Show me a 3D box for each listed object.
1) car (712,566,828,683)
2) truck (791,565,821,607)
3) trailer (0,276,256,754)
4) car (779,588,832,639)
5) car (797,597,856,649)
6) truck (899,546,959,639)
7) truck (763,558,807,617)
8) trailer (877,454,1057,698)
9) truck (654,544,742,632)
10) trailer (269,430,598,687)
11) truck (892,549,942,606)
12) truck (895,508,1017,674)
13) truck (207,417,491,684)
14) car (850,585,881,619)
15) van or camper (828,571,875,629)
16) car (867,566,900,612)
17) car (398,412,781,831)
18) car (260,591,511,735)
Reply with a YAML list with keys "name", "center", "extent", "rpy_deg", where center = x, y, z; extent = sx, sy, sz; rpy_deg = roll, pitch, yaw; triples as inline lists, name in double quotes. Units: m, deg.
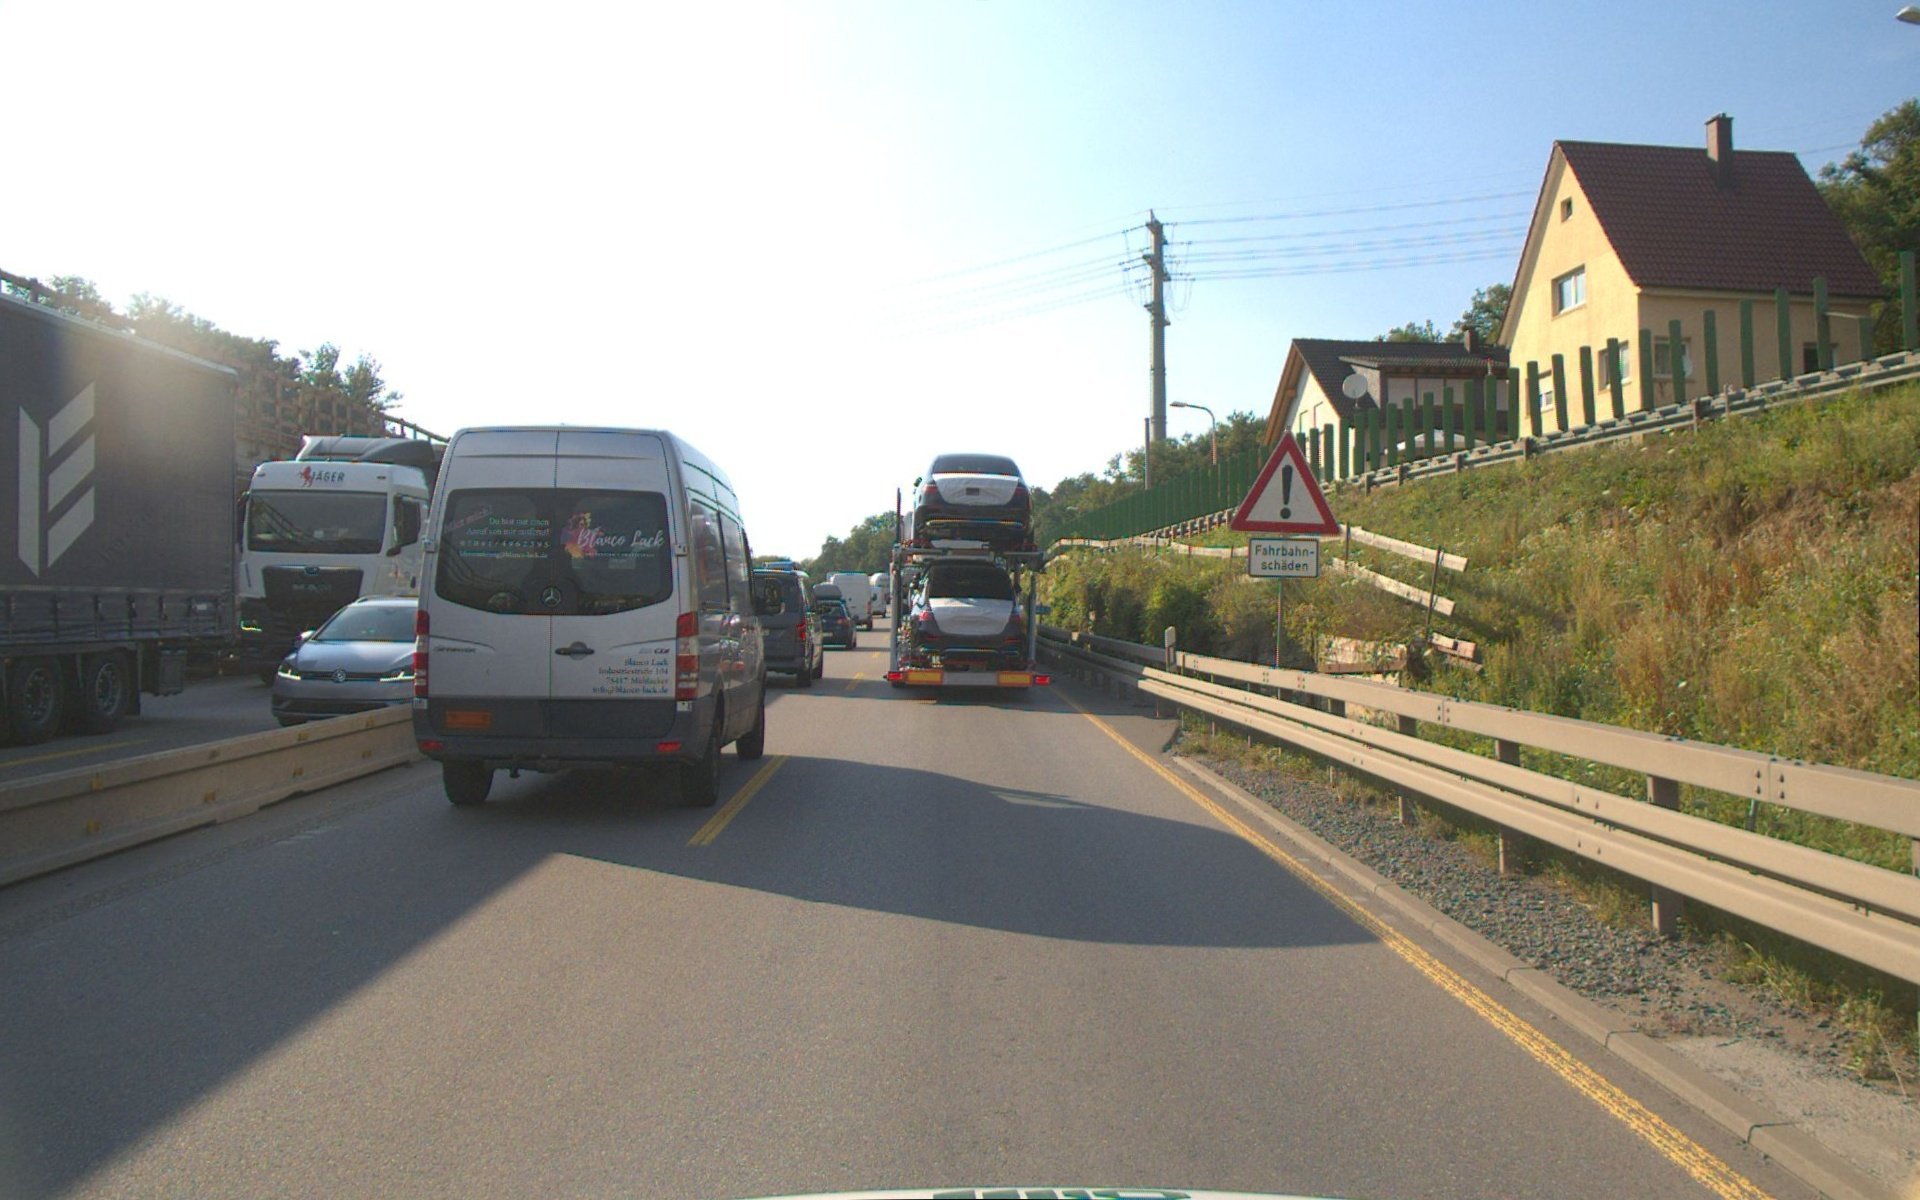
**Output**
- name: "car"
  center: [-3.356, 0.459, 29.808]
  extent: [1.772, 1.937, 3.997]
  rpy_deg: [1, -1, -3]
- name: "truck"
  center: [-16.380, -1.435, 176.659]
  extent: [2.924, 4.226, 15.839]
  rpy_deg: [1, 0, -5]
- name: "trailer"
  center: [-9.797, -0.756, 13.081]
  extent: [2.708, 4.213, 14.021]
  rpy_deg: [1, 0, -1]
- name: "car"
  center: [-7.963, 0.697, 85.593]
  extent: [2.422, 2.578, 3.998]
  rpy_deg: [0, -1, -2]
- name: "car"
  center: [-4.190, 0.686, 52.285]
  extent: [1.691, 1.549, 3.971]
  rpy_deg: [1, 0, -2]
- name: "truck"
  center: [-1.708, -0.377, 87.774]
  extent: [2.850, 4.687, 7.280]
  rpy_deg: [0, 0, -4]
- name: "truck"
  center: [-13.047, -0.928, 123.978]
  extent: [2.572, 4.184, 9.622]
  rpy_deg: [-2, 0, -3]
- name: "trailer"
  center: [-0.006, -0.261, 32.237]
  extent: [2.628, 3.597, 15.284]
  rpy_deg: [1, -1, -1]
- name: "truck"
  center: [-11.199, -0.434, 71.403]
  extent: [2.660, 3.484, 8.137]
  rpy_deg: [-2, -1, -2]
- name: "trailer"
  center: [-10.431, -0.601, 34.954]
  extent: [2.854, 4.314, 13.763]
  rpy_deg: [1, -1, -2]
- name: "truck"
  center: [-3.628, -1.862, 142.579]
  extent: [3.982, 4.761, 10.591]
  rpy_deg: [0, 0, 0]
- name: "truck"
  center: [-0.130, -0.149, 39.803]
  extent: [2.628, 3.597, 7.191]
  rpy_deg: [1, -1, -1]
- name: "truck"
  center: [-10.243, -0.723, 28.418]
  extent: [2.802, 4.078, 5.656]
  rpy_deg: [1, -1, -2]
- name: "car"
  center: [-6.132, 0.143, 107.748]
  extent: [1.848, 2.137, 3.764]
  rpy_deg: [1, 0, -2]
- name: "van or camper"
  center: [-5.089, 0.044, 78.325]
  extent: [1.928, 2.637, 5.040]
  rpy_deg: [1, -1, -1]
- name: "car"
  center: [-8.861, -1.197, 190.682]
  extent: [3.378, 5.123, 9.642]
  rpy_deg: [1, 0, -5]
- name: "car"
  center: [-2.690, 0.130, 13.457]
  extent: [1.953, 2.694, 5.529]
  rpy_deg: [0, 0, -1]
- name: "car"
  center: [-6.660, 0.694, 19.685]
  extent: [1.608, 1.484, 4.592]
  rpy_deg: [1, -1, -4]
